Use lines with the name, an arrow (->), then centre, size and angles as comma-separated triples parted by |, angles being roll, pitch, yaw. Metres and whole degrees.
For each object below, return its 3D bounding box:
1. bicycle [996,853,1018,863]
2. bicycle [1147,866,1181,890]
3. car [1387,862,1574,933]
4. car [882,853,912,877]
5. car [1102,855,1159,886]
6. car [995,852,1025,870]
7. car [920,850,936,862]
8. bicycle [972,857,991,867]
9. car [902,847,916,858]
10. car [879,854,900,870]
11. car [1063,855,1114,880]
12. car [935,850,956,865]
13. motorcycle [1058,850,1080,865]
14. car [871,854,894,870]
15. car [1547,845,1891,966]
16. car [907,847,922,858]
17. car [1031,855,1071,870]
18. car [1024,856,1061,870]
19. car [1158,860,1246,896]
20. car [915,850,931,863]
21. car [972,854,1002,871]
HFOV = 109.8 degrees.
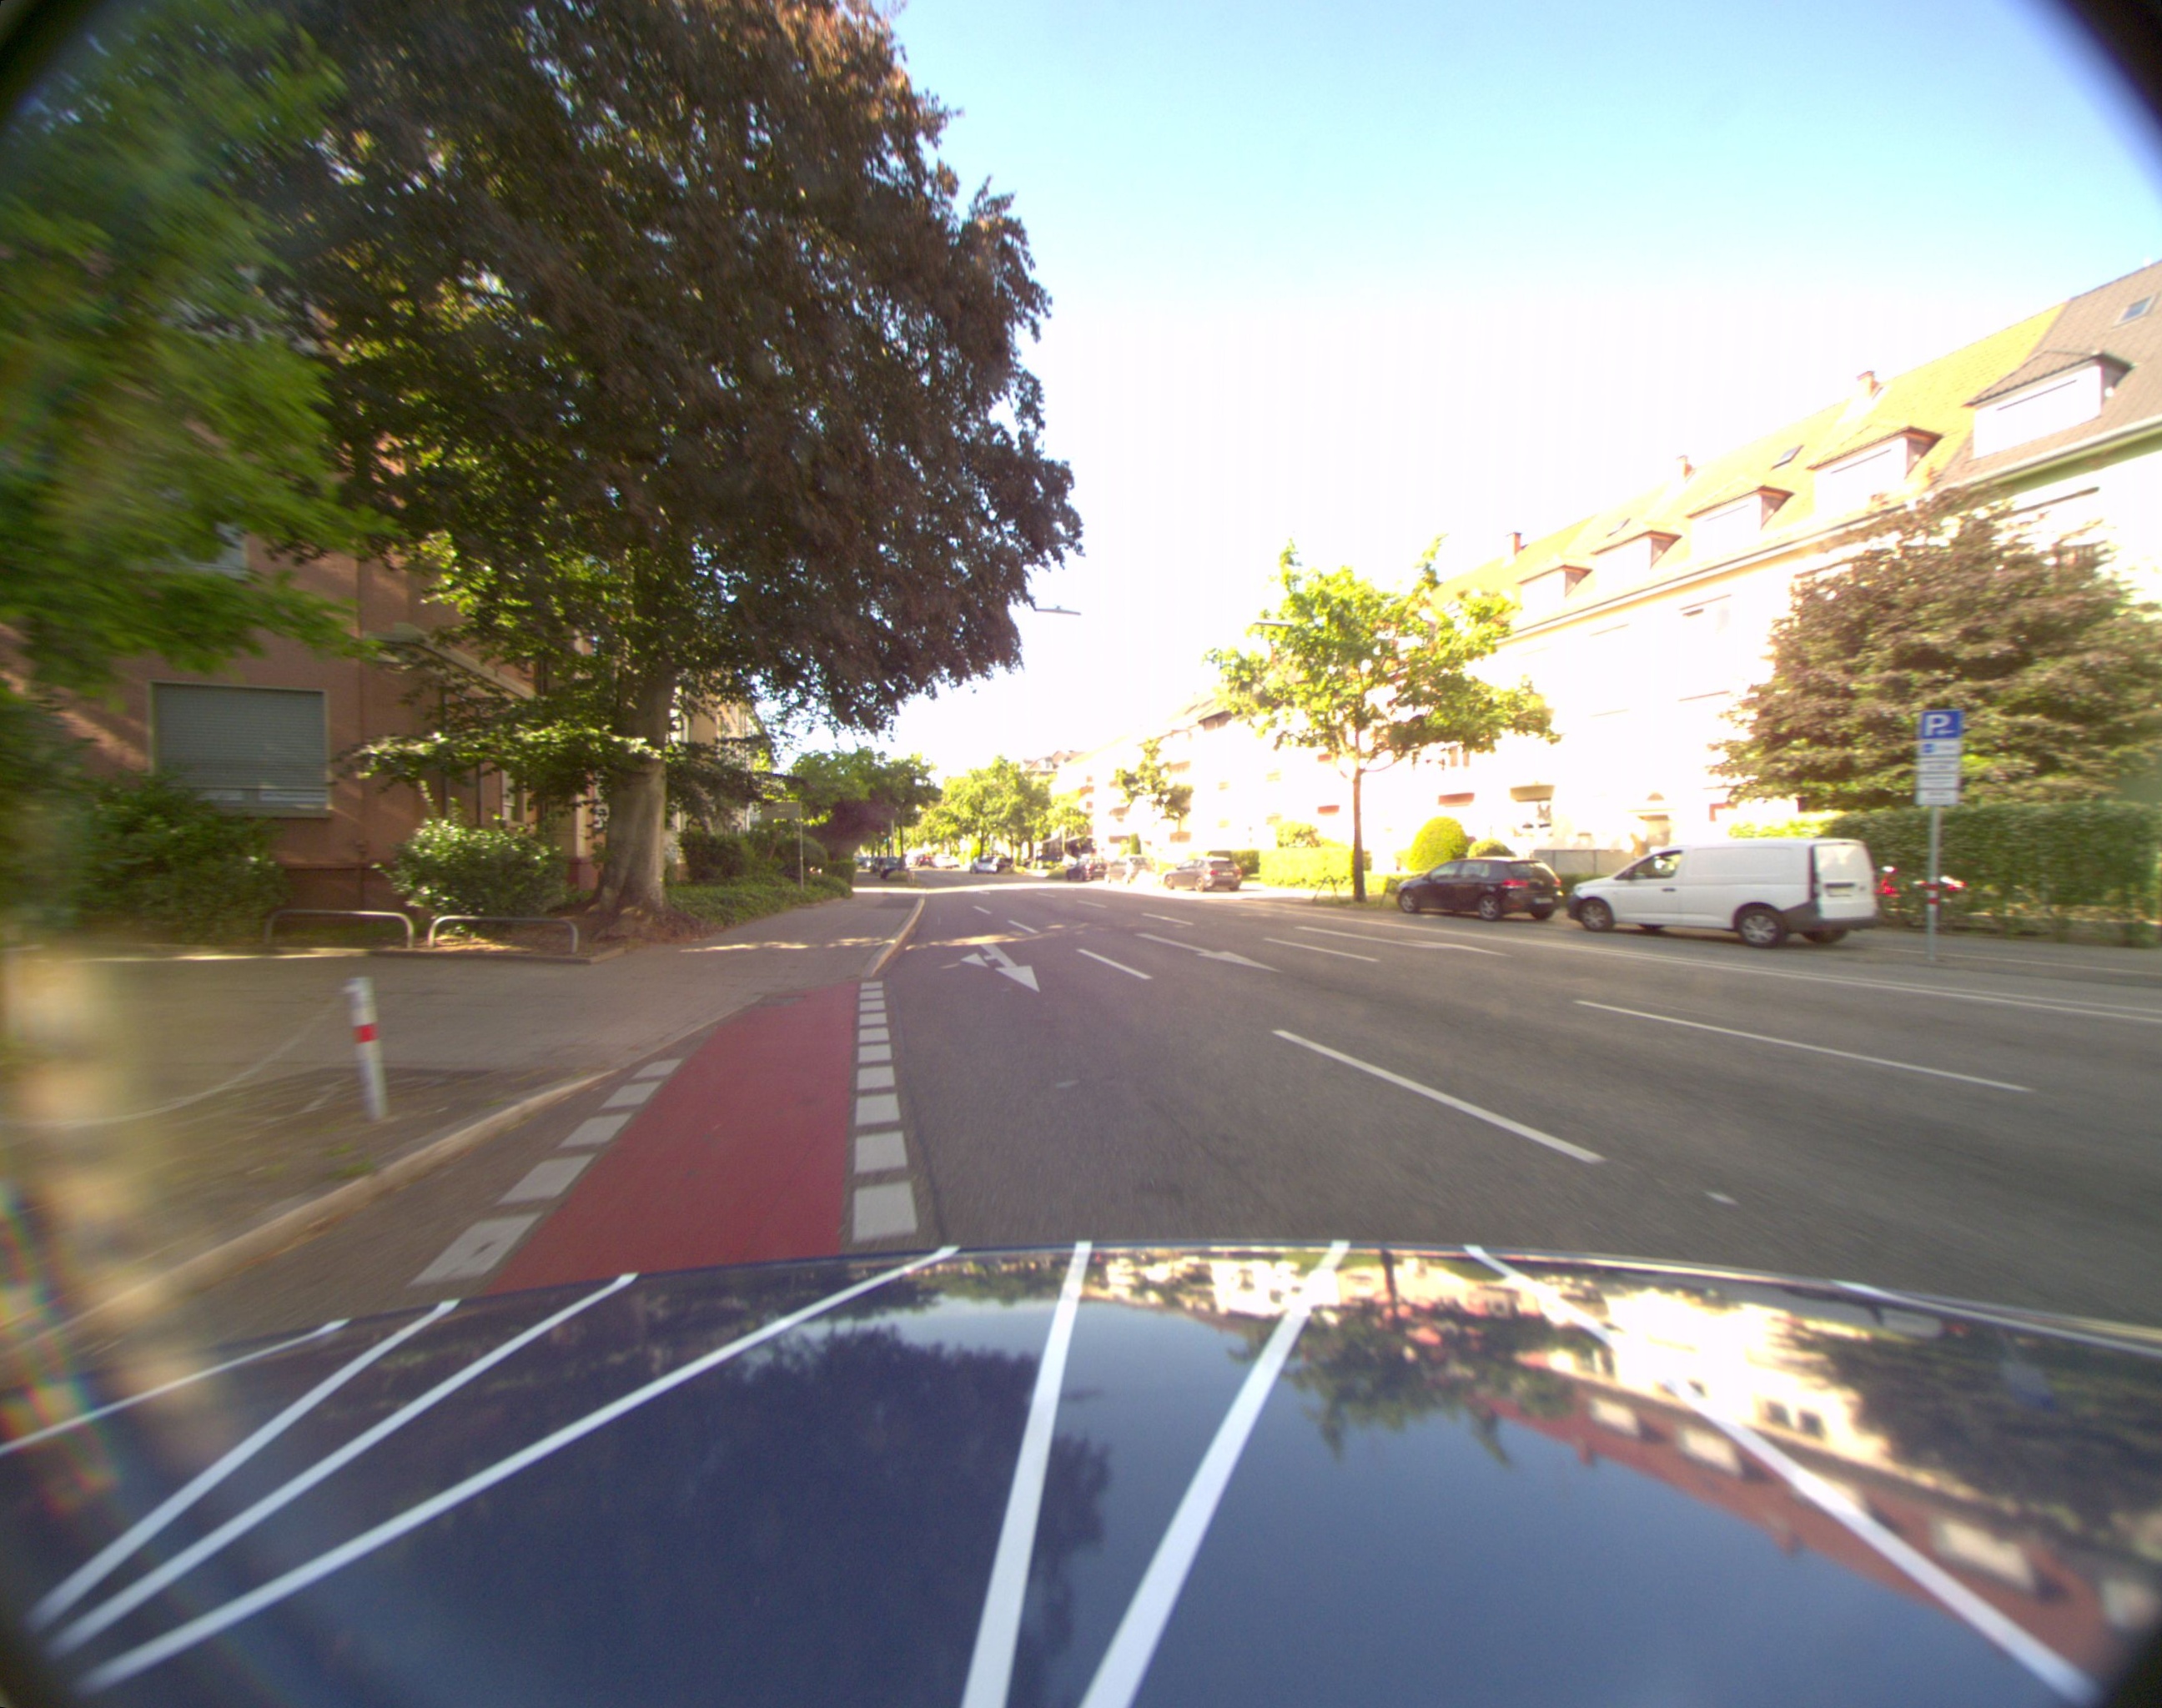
bicycle -> -9.580, 0.478, 98.926 | 0.949, 1.255, 3.181 | 3, 3, 38
bicycle -> 3.930, 1.127, 36.012 | 1.550, 1.127, 0.547 | 0, 0, -19
car -> 9.623, 0.970, 18.713 | 1.678, 1.448, 4.104 | -1, 0, -17
car -> -12.415, 0.733, 51.195 | 1.566, 1.506, 3.648 | 2, 0, -20
car -> 2.638, 0.854, 41.171 | 1.682, 1.517, 3.652 | -3, 1, -21
car -> -6.489, 0.589, 69.090 | 1.729, 1.527, 4.672 | -2, 1, -18
car -> -21.826, 0.251, 108.332 | 1.726, 1.556, 4.335 | 2, 0, -18
bicycle -> -10.870, 0.849, 83.200 | 2.027, 1.085, 0.462 | -1, 1, 5
car -> -31.354, -0.220, 138.453 | 2.025, 1.940, 5.169 | 1, 0, -19
car -> -16.859, 0.695, 66.681 | 1.618, 1.375, 3.970 | 0, 0, -17
car -> 0.418, 0.786, 47.374 | 1.793, 1.484, 4.485 | 0, 0, -19
car -> -15.878, 0.411, 88.866 | 1.814, 1.638, 4.665 | 2, 0, -19
motorcycle -> -1.197, 0.344, 77.792 | 2.157, 1.477, 0.780 | -1, 1, -9
car -> -18.818, 0.733, 71.879 | 1.721, 1.480, 4.227 | 0, 0, -19
car -> 11.330, 0.772, 13.986 | 1.826, 1.823, 4.554 | -1, 1, -19
car -> -27.486, -0.218, 125.336 | 1.823, 1.732, 4.485 | 2, 0, -18
car -> -3.178, 0.840, 79.843 | 4.000, 1.452, 1.731 | -1, 0, -9
car -> -4.196, 0.967, 82.862 | 3.997, 1.447, 1.733 | 0, 0, 0
car -> 5.088, 0.969, 32.679 | 1.775, 1.400, 4.358 | -1, 0, -21
car -> -24.303, 0.331, 116.646 | 1.810, 1.899, 4.704 | 2, 0, -18
car -> -8.044, 0.734, 64.721 | 1.745, 1.373, 3.930 | 1, 0, -19
